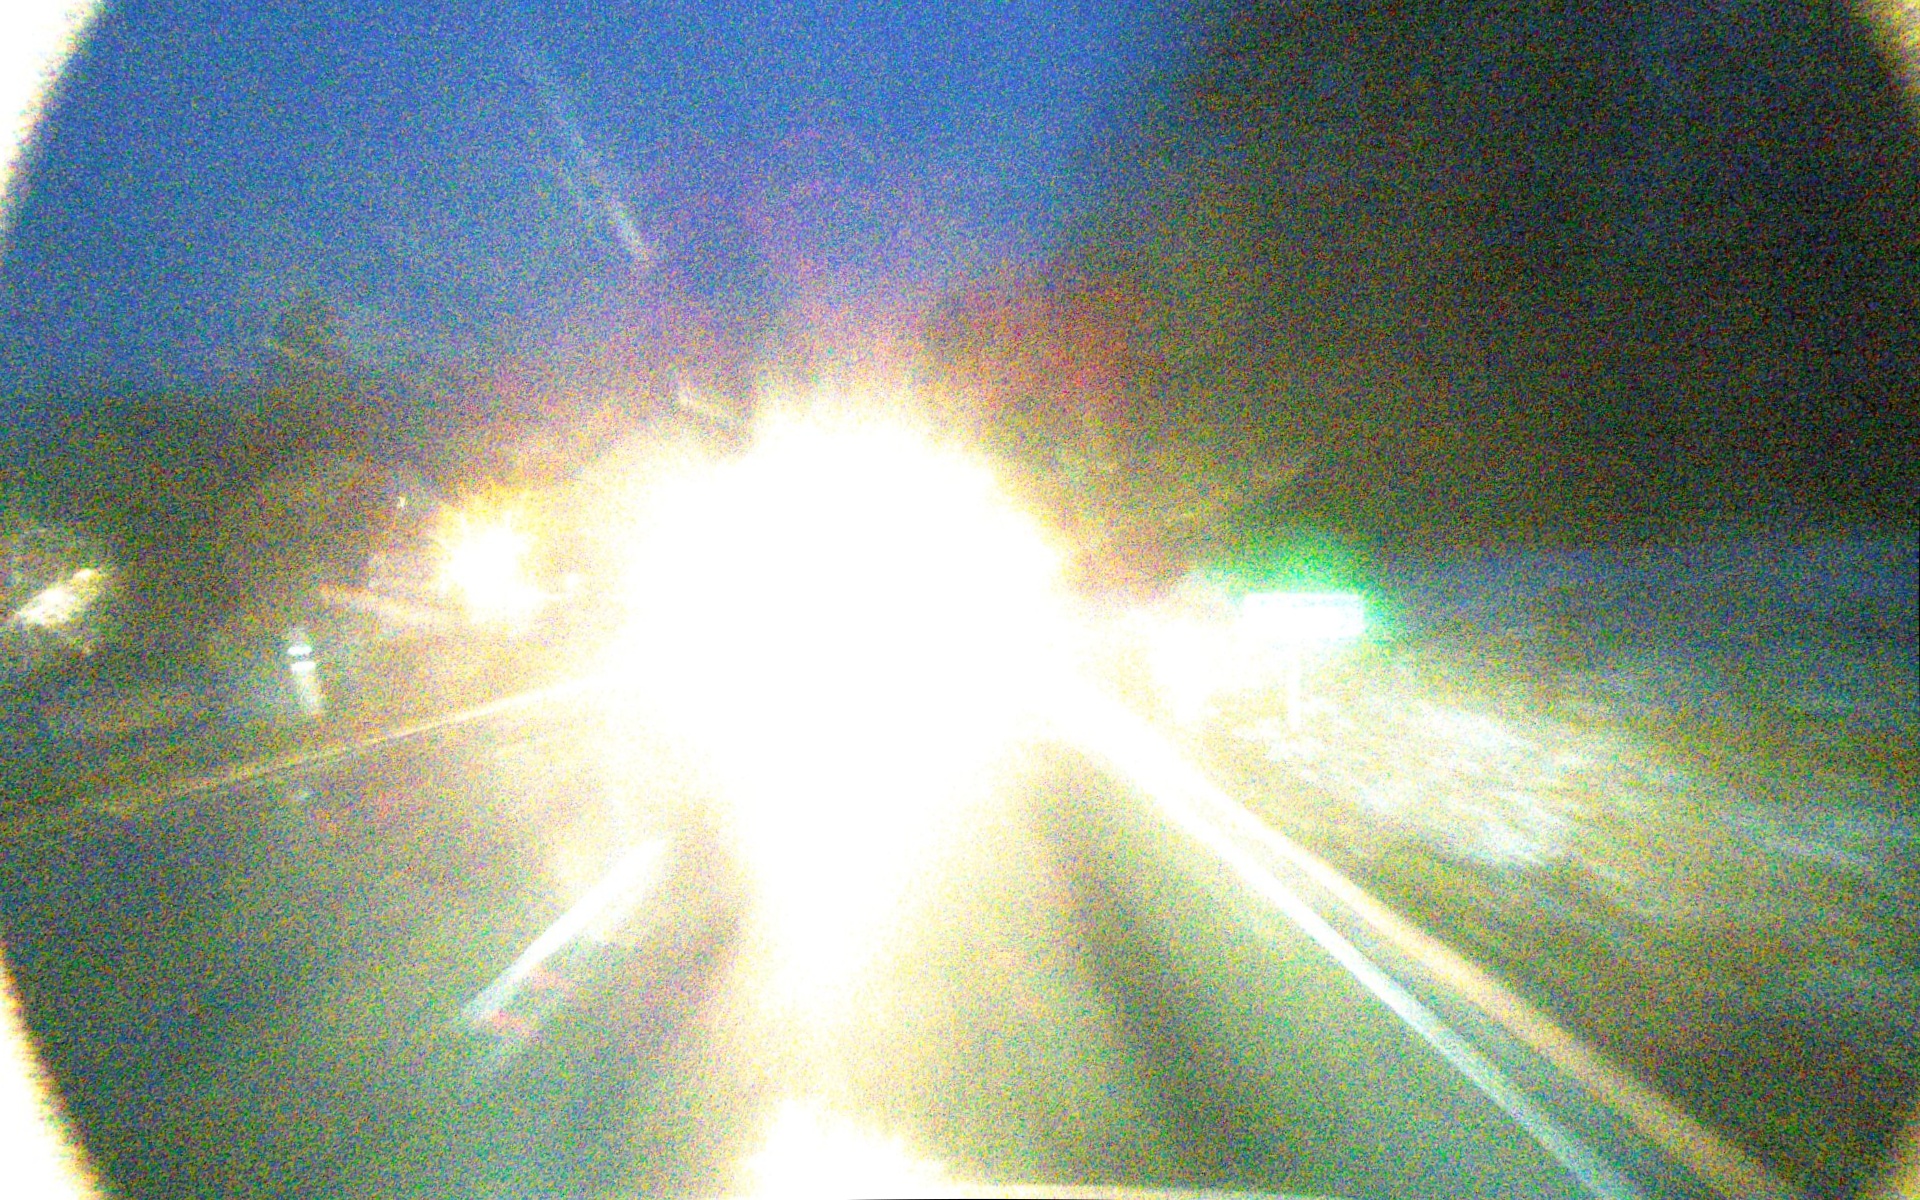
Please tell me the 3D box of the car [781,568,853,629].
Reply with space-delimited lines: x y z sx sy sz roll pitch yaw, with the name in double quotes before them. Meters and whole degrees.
"car" -6.036 -0.022 70.564 2.697 2.308 6.258 -3 -1 -3
